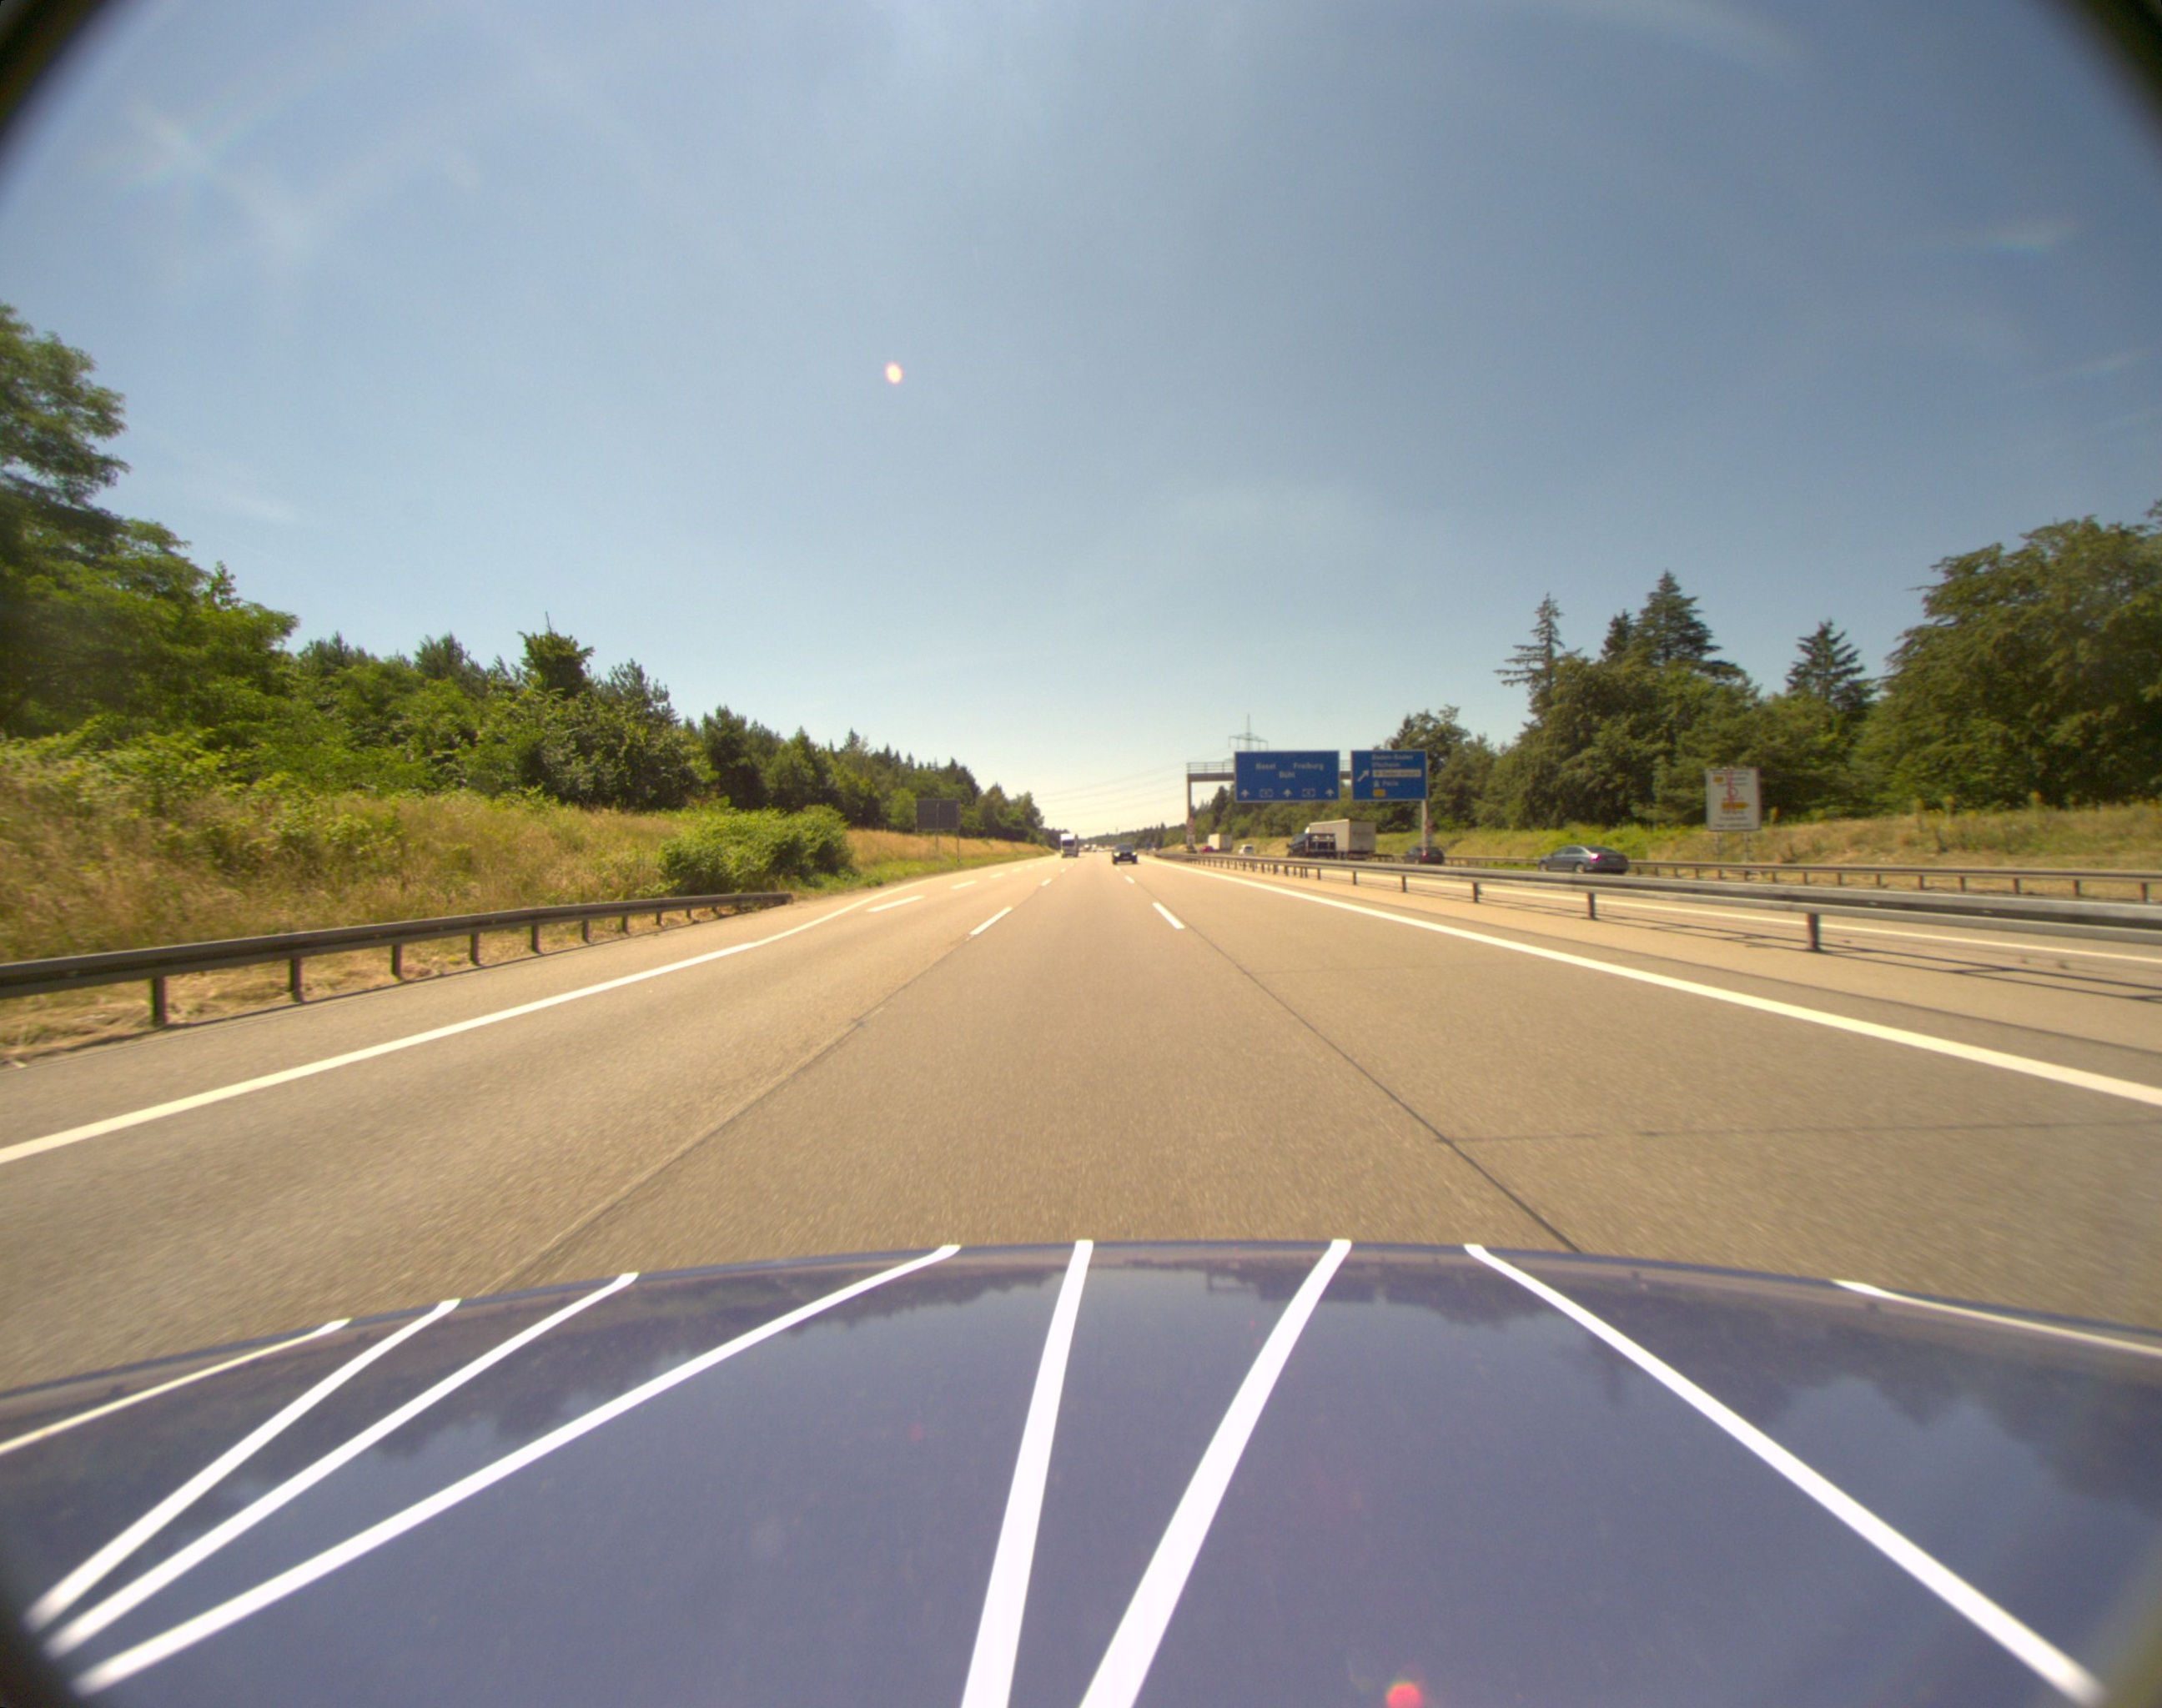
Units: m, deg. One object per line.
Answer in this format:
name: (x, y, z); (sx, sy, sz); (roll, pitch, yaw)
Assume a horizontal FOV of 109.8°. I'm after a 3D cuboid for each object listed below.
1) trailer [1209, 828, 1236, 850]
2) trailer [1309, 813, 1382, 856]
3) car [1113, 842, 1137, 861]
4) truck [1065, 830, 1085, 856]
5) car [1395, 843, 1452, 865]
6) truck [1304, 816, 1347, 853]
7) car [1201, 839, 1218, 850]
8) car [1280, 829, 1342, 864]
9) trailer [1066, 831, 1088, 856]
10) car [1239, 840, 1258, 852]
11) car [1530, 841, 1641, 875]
trailer: (27.975, -2.976, 150.433); (3.222, 4.019, 14.360); (-2, 1, 3)
trailer: (26.773, -1.962, 77.750); (3.175, 3.908, 13.963); (-2, 1, 3)
car: (3.737, -0.239, 64.481); (1.898, 1.417, 4.262); (-3, 1, 3)
truck: (-0.946, -1.827, 128.017); (2.979, 4.118, 5.349); (-1, 0, 3)
car: (24.933, -0.037, 55.519); (2.090, 1.455, 4.942); (-1, 1, 1)
truck: (27.118, -2.133, 84.578); (3.175, 3.908, 5.400); (-2, 1, 3)
car: (20.098, -1.536, 119.243); (1.851, 1.601, 4.920); (-2, 1, 1)
car: (13.743, -0.463, 45.753); (2.285, 1.929, 4.942); (-1, 1, 1)
trailer: (-0.579, -1.879, 133.685); (2.981, 4.118, 11.698); (-1, 0, 4)
car: (26.874, -1.289, 122.340); (1.998, 1.739, 4.990); (-2, 1, 1)
car: (23.159, 0.125, 35.163); (1.931, 1.455, 4.942); (-1, 1, 1)
